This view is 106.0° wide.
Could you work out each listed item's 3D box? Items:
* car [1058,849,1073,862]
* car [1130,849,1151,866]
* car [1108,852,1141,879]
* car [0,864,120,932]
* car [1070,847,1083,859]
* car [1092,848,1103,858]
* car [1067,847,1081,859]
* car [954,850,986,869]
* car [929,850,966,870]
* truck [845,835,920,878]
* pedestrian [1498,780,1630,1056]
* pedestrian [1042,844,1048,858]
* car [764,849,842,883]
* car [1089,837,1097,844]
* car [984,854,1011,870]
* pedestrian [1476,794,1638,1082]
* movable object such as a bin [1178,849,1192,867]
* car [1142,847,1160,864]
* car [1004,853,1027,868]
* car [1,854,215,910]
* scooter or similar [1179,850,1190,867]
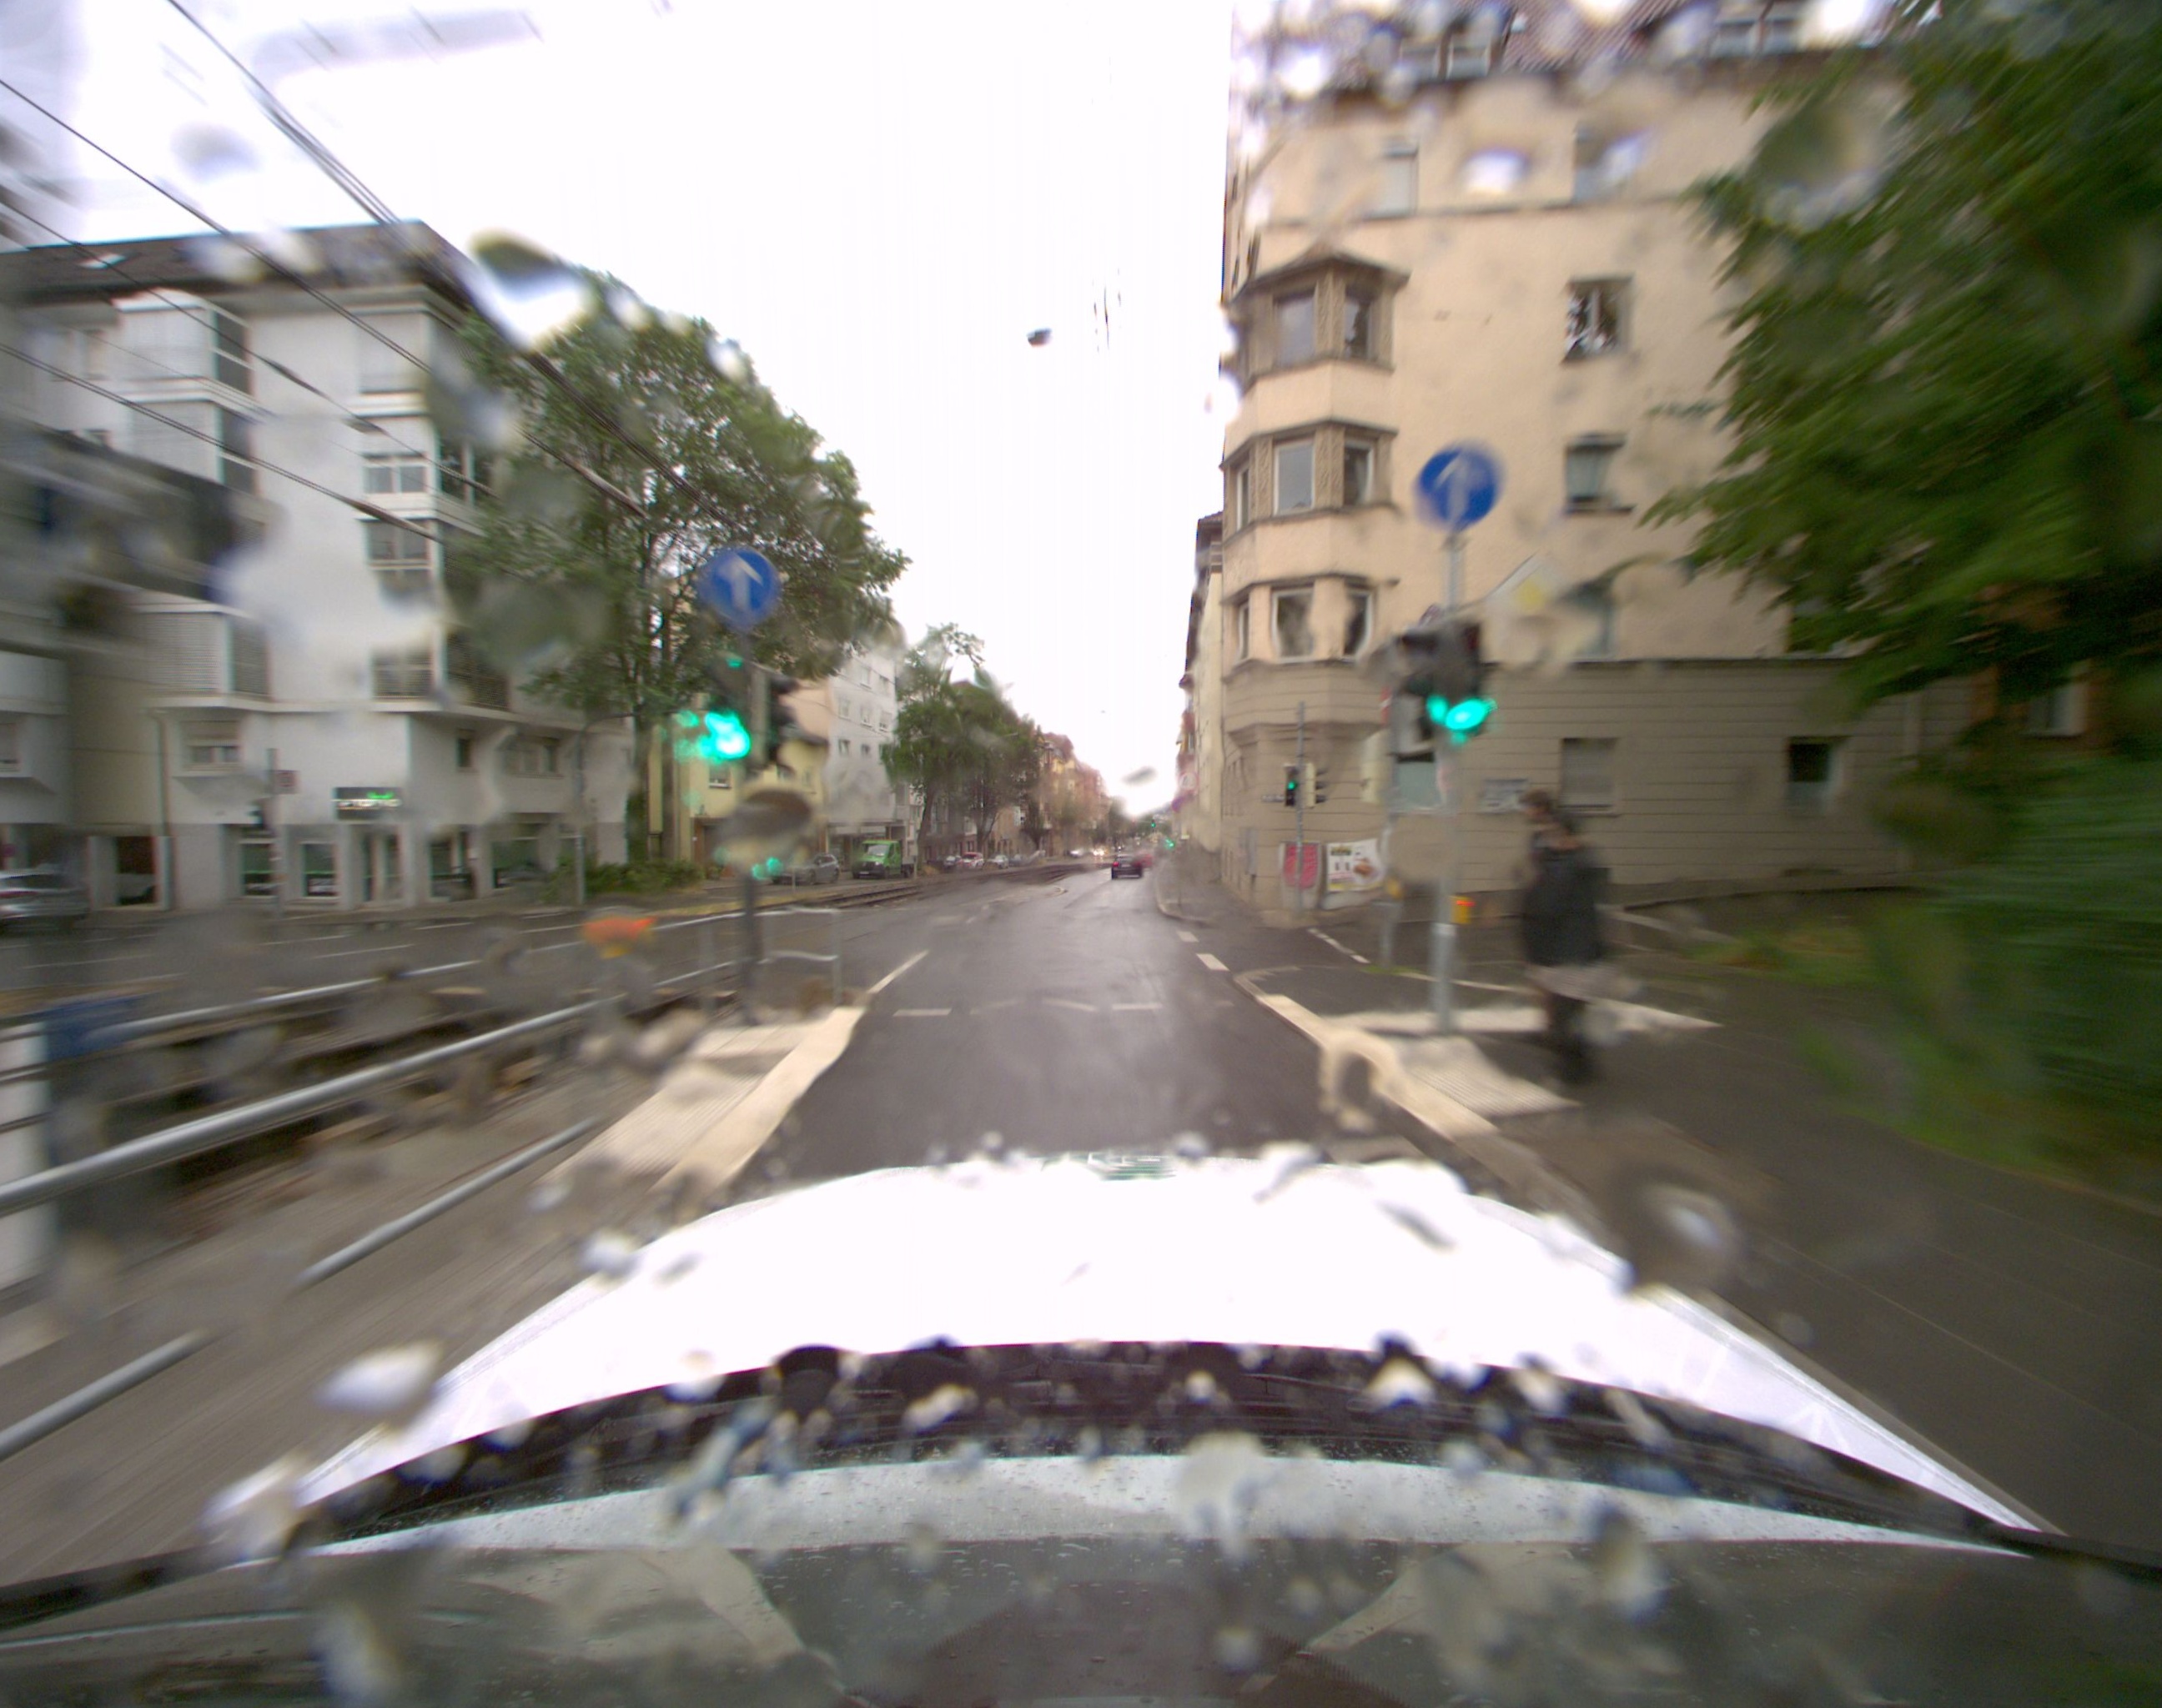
[{"bbox_3d":[-2.588,0.224,136.048,1.984,2.014,4.351,-2,-1,4],"label":"car"},{"bbox_3d":[5.228,0.311,71.779,1.843,1.473,4.004,0,-1,4],"label":"car"},{"bbox_3d":[2.589,0.641,47.812,1.843,1.473,4.005,-1,0,4],"label":"car"},{"bbox_3d":[-26.056,1.033,19.237,4.690,1.472,2.003,-1,0,6],"label":"car"},{"bbox_3d":[-0.754,-0.164,151.047,1.984,2.014,4.351,-2,-1,4],"label":"car"},{"bbox_3d":[3.302,-0.254,163.910,1.984,2.013,4.352,-1,0,4],"label":"car"},{"bbox_3d":[-1.244,-0.229,146.019,1.984,2.014,4.351,-2,-1,4],"label":"car"},{"bbox_3d":[-9.508,0.443,69.997,1.764,1.546,4.261,-2,0,5],"label":"car"},{"bbox_3d":[-10.249,0.472,62.777,1.764,1.453,4.261,-2,-1,5],"label":"car"},{"bbox_3d":[-11.792,0.142,48.919,2.039,2.393,6.336,-1,0,9],"label":"truck"},{"bbox_3d":[3.345,0.418,5.687,0.551,1.813,0.651,0,-1,3],"label":"pedestrian"},{"bbox_3d":[-5.342,-0.505,120.576,0.868,2.014,0.705,-2,-1,4],"label":"pedestrian"},{"bbox_3d":[-13.162,0.533,38.824,1.717,1.515,4.504,-1,0,7],"label":"car"},{"bbox_3d":[3.439,-3.854,228.915,1.984,2.013,4.005,-1,0,4],"label":"car"},{"bbox_3d":[-8.315,0.782,81.388,1.764,1.488,4.262,-2,-1,6],"label":"car"},{"bbox_3d":[2.945,0.497,5.088,0.692,1.695,0.556,0,-1,2],"label":"pedestrian"},{"bbox_3d":[9.811,0.406,76.833,1.163,1.655,1.310,-2,0,2],"label":"movable object such as a bin"},{"bbox_3d":[7.827,0.203,91.349,1.940,1.793,4.148,0,-1,4],"label":"car"},{"bbox_3d":[-7.237,0.699,90.029,1.764,1.619,4.262,-2,0,6],"label":"car"},{"bbox_3d":[-29.437,0.782,24.857,1.694,1.535,4.000,-1,0,1],"label":"car"},{"bbox_3d":[9.604,0.417,75.334,0.915,1.604,0.863,-1,0,1],"label":"scooter or similar"}]
